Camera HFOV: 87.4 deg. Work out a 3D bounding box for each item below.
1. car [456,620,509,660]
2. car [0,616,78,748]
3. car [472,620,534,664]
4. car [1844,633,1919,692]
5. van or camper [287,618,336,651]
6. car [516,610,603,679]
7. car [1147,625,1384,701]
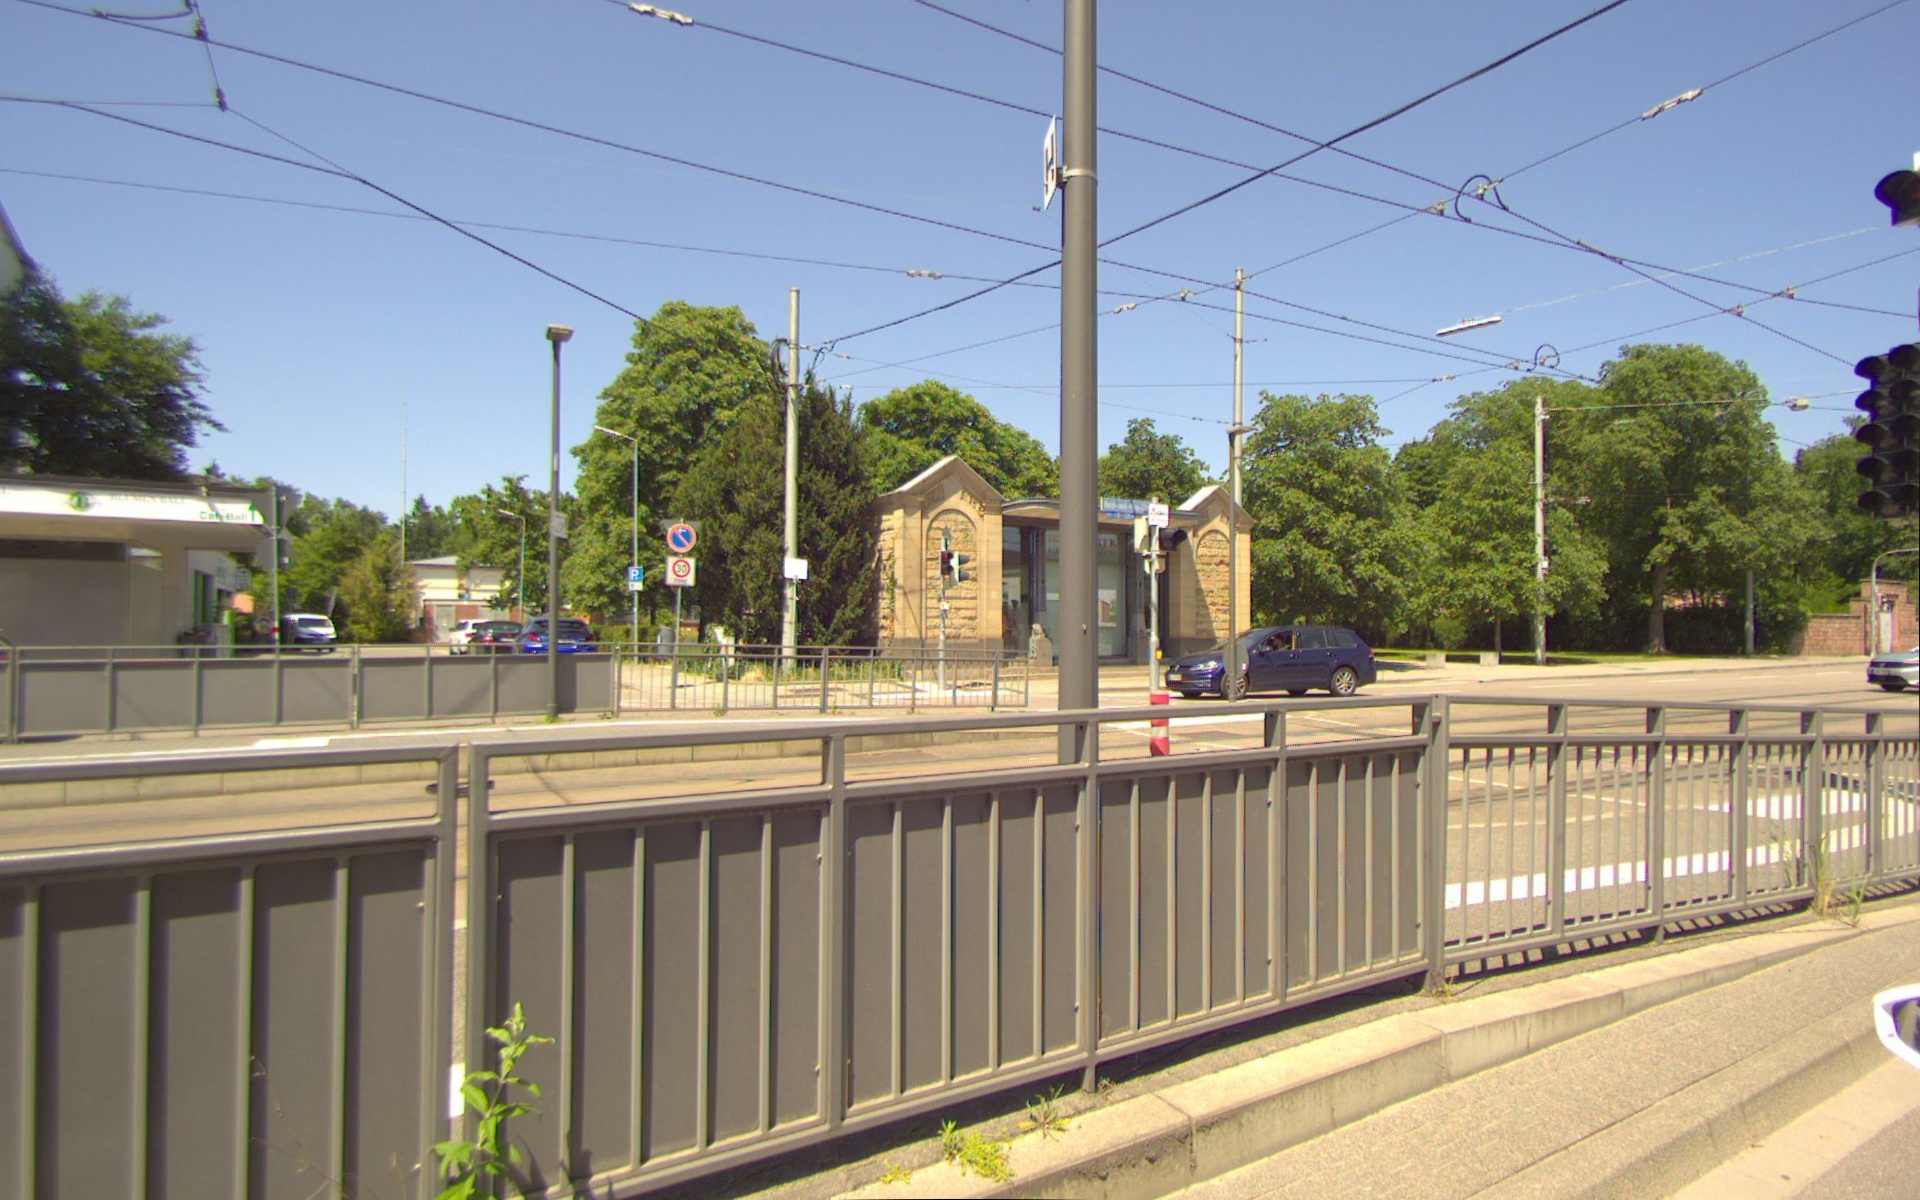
[{"bbox_3d":[-18.749,1.571,39.385,1.625,1.465,3.784,1,-3,-29],"label":"car"},{"bbox_3d":[-12.317,0.883,10.667,4.127,1.414,1.809,1,-3,-31],"label":"car"},{"bbox_3d":[-15.515,1.426,34.002,1.624,1.388,3.785,1,-3,-29],"label":"car"},{"bbox_3d":[23.874,1.463,23.839,3.969,1.380,1.825,-1,-2,8],"label":"car"},{"bbox_3d":[-32.137,1.692,49.733,1.676,1.587,3.784,1,-2,-38],"label":"van or camper"},{"bbox_3d":[-9.949,1.032,24.799,1.799,1.472,3.934,1,1,-25],"label":"car"},{"bbox_3d":[6.288,1.252,20.766,4.404,1.461,1.857,1,-1,-16],"label":"car"}]
